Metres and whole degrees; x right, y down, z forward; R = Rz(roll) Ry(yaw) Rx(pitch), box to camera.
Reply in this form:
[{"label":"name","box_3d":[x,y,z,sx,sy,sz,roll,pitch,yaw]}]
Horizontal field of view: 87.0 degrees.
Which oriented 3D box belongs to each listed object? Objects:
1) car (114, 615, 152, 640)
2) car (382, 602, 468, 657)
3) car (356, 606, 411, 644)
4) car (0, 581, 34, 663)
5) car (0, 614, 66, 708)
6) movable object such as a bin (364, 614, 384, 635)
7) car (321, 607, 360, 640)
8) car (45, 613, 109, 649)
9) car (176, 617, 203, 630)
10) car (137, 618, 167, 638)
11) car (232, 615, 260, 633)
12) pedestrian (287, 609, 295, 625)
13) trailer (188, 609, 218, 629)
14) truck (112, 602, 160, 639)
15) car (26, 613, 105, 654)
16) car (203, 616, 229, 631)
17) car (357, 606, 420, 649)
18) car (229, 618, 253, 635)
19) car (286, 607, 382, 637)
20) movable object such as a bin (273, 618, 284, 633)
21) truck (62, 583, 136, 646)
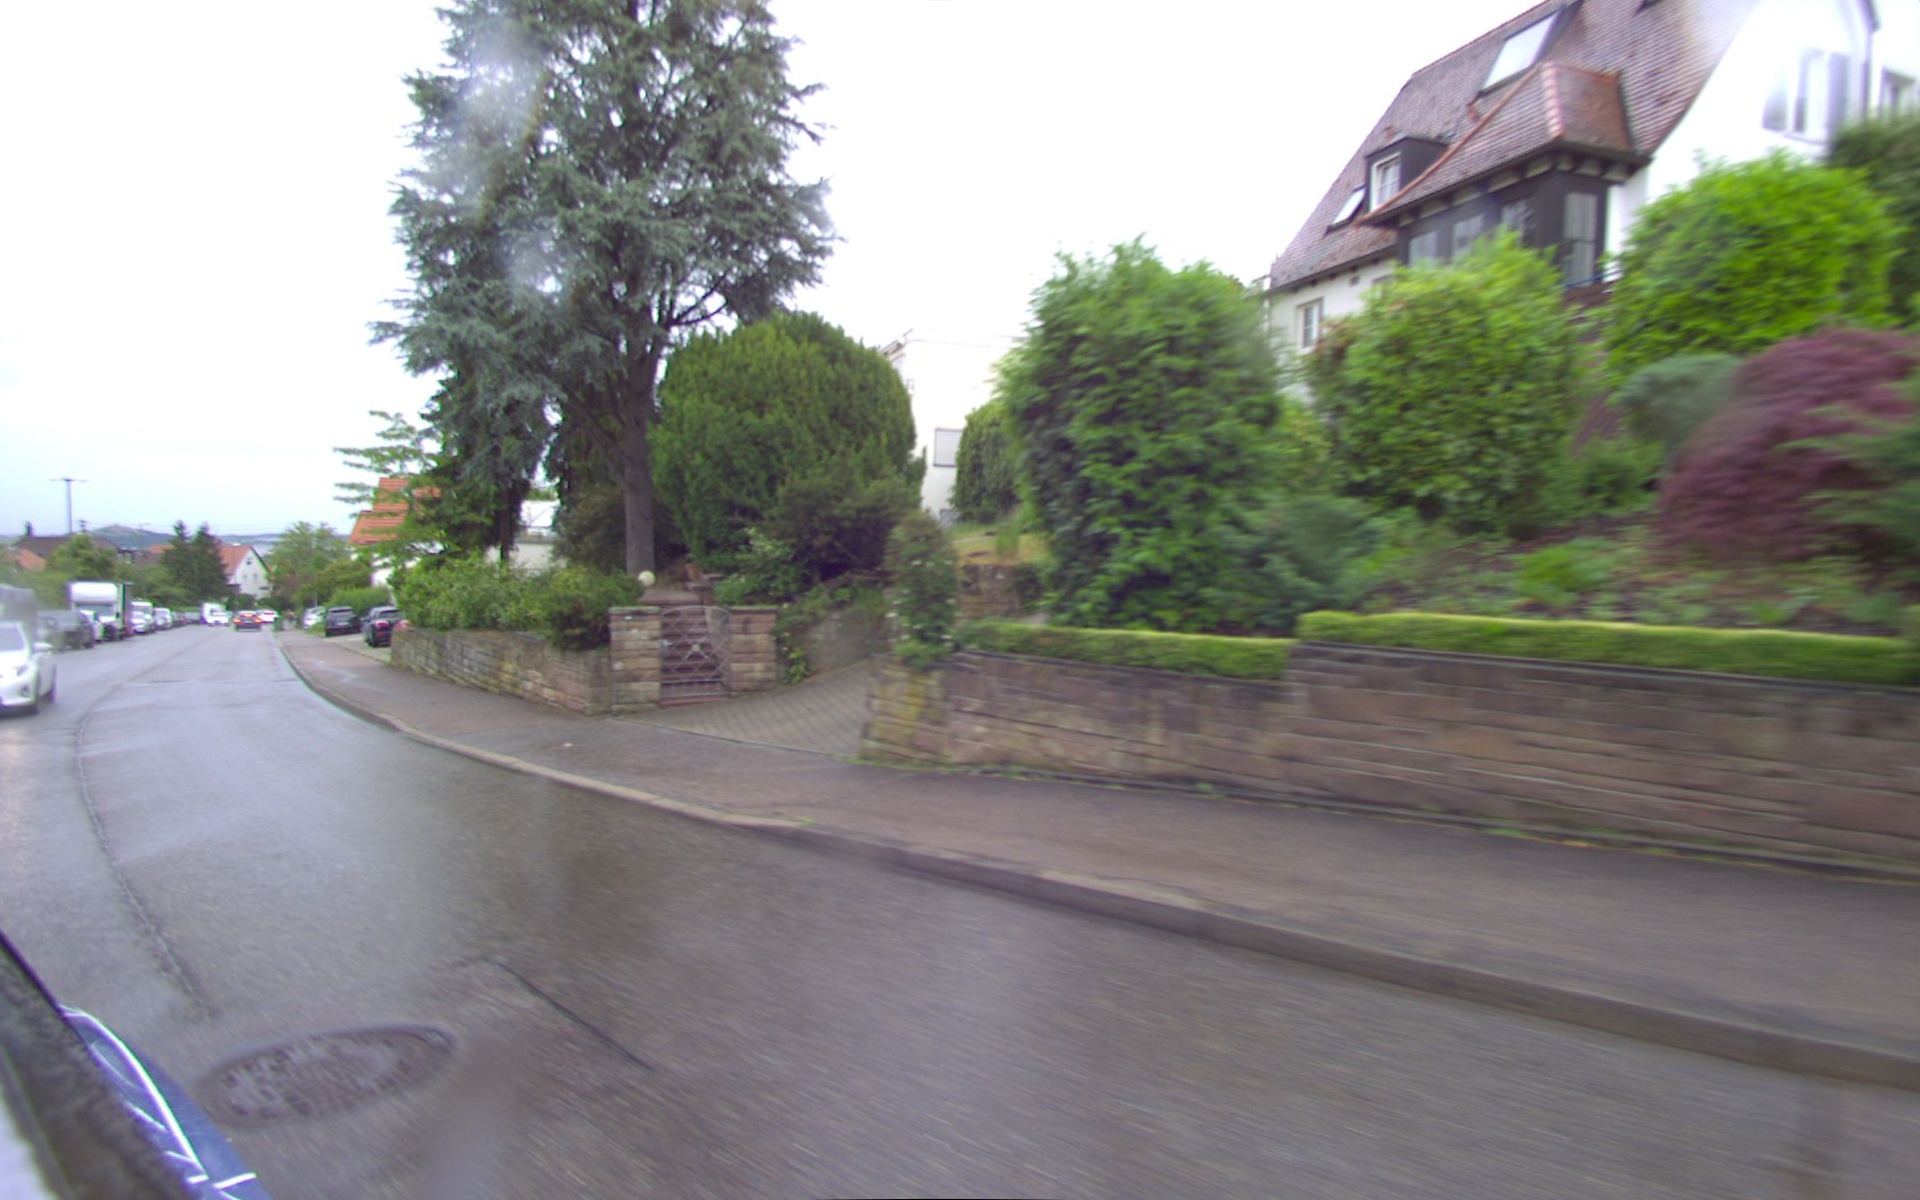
[{"label":"car","box_3d":[-57.424,1.873,70.335,1.736,1.616,4.678,1,-1,-35]},{"label":"car","box_3d":[-17.056,0.900,32.154,1.751,1.447,4.600,-6,3,-35]},{"label":"car","box_3d":[-24.846,1.062,43.569,1.586,1.445,3.968,-5,2,-36]},{"label":"car","box_3d":[-32.071,0.712,32.968,2.004,2.524,5.970,1,-1,-35]},{"label":"car","box_3d":[-16.112,0.972,16.546,1.834,1.388,4.190,-2,0,-36]},{"label":"movable object such as a bin","box_3d":[-32.856,1.371,56.784,0.715,1.078,0.852,-5,3,-17]},{"label":"car","box_3d":[-35.675,1.330,58.299,1.667,1.599,4.209,-8,3,-32]},{"label":"car","box_3d":[-44.702,1.500,51.325,1.821,1.696,5.653,1,-1,-35]},{"label":"car","box_3d":[-87.510,2.689,115.039,1.768,1.470,4.803,1,-1,-29]},{"label":"car","box_3d":[-68.453,2.375,85.768,1.625,1.575,3.974,1,-1,-34]},{"label":"car","box_3d":[-58.712,1.957,83.213,1.750,1.448,4.372,3,-3,-36]},{"label":"pedestrian","box_3d":[-68.061,1.748,102.945,0.707,1.647,0.709,0,-1,-34]},{"label":"trailer","box_3d":[-93.161,2.298,124.571,1.921,2.475,5.452,0,-1,-25]},{"label":"truck","box_3d":[-62.031,1.488,76.291,2.209,2.651,6.556,1,-1,-34]},{"label":"car","box_3d":[-39.094,1.420,44.334,1.910,1.684,4.707,1,-1,-33]},{"label":"car","box_3d":[-79.152,2.509,107.686,1.791,1.518,4.738,1,-1,-32]},{"label":"car","box_3d":[-21.652,1.027,38.278,1.611,1.406,4.249,-5,2,-35]},{"label":"car","box_3d":[-69.954,2.553,98.483,1.774,1.579,4.395,1,-2,-35]},{"label":"car","box_3d":[-41.377,1.425,67.029,5.013,1.959,2.148,0,-1,-19]},{"label":"movable object such as a bin","box_3d":[-51.384,1.906,76.285,0.595,1.072,0.699,-2,0,-39]},{"label":"truck","box_3d":[-49.245,0.814,58.053,2.403,3.360,7.985,1,-1,-35]}]
